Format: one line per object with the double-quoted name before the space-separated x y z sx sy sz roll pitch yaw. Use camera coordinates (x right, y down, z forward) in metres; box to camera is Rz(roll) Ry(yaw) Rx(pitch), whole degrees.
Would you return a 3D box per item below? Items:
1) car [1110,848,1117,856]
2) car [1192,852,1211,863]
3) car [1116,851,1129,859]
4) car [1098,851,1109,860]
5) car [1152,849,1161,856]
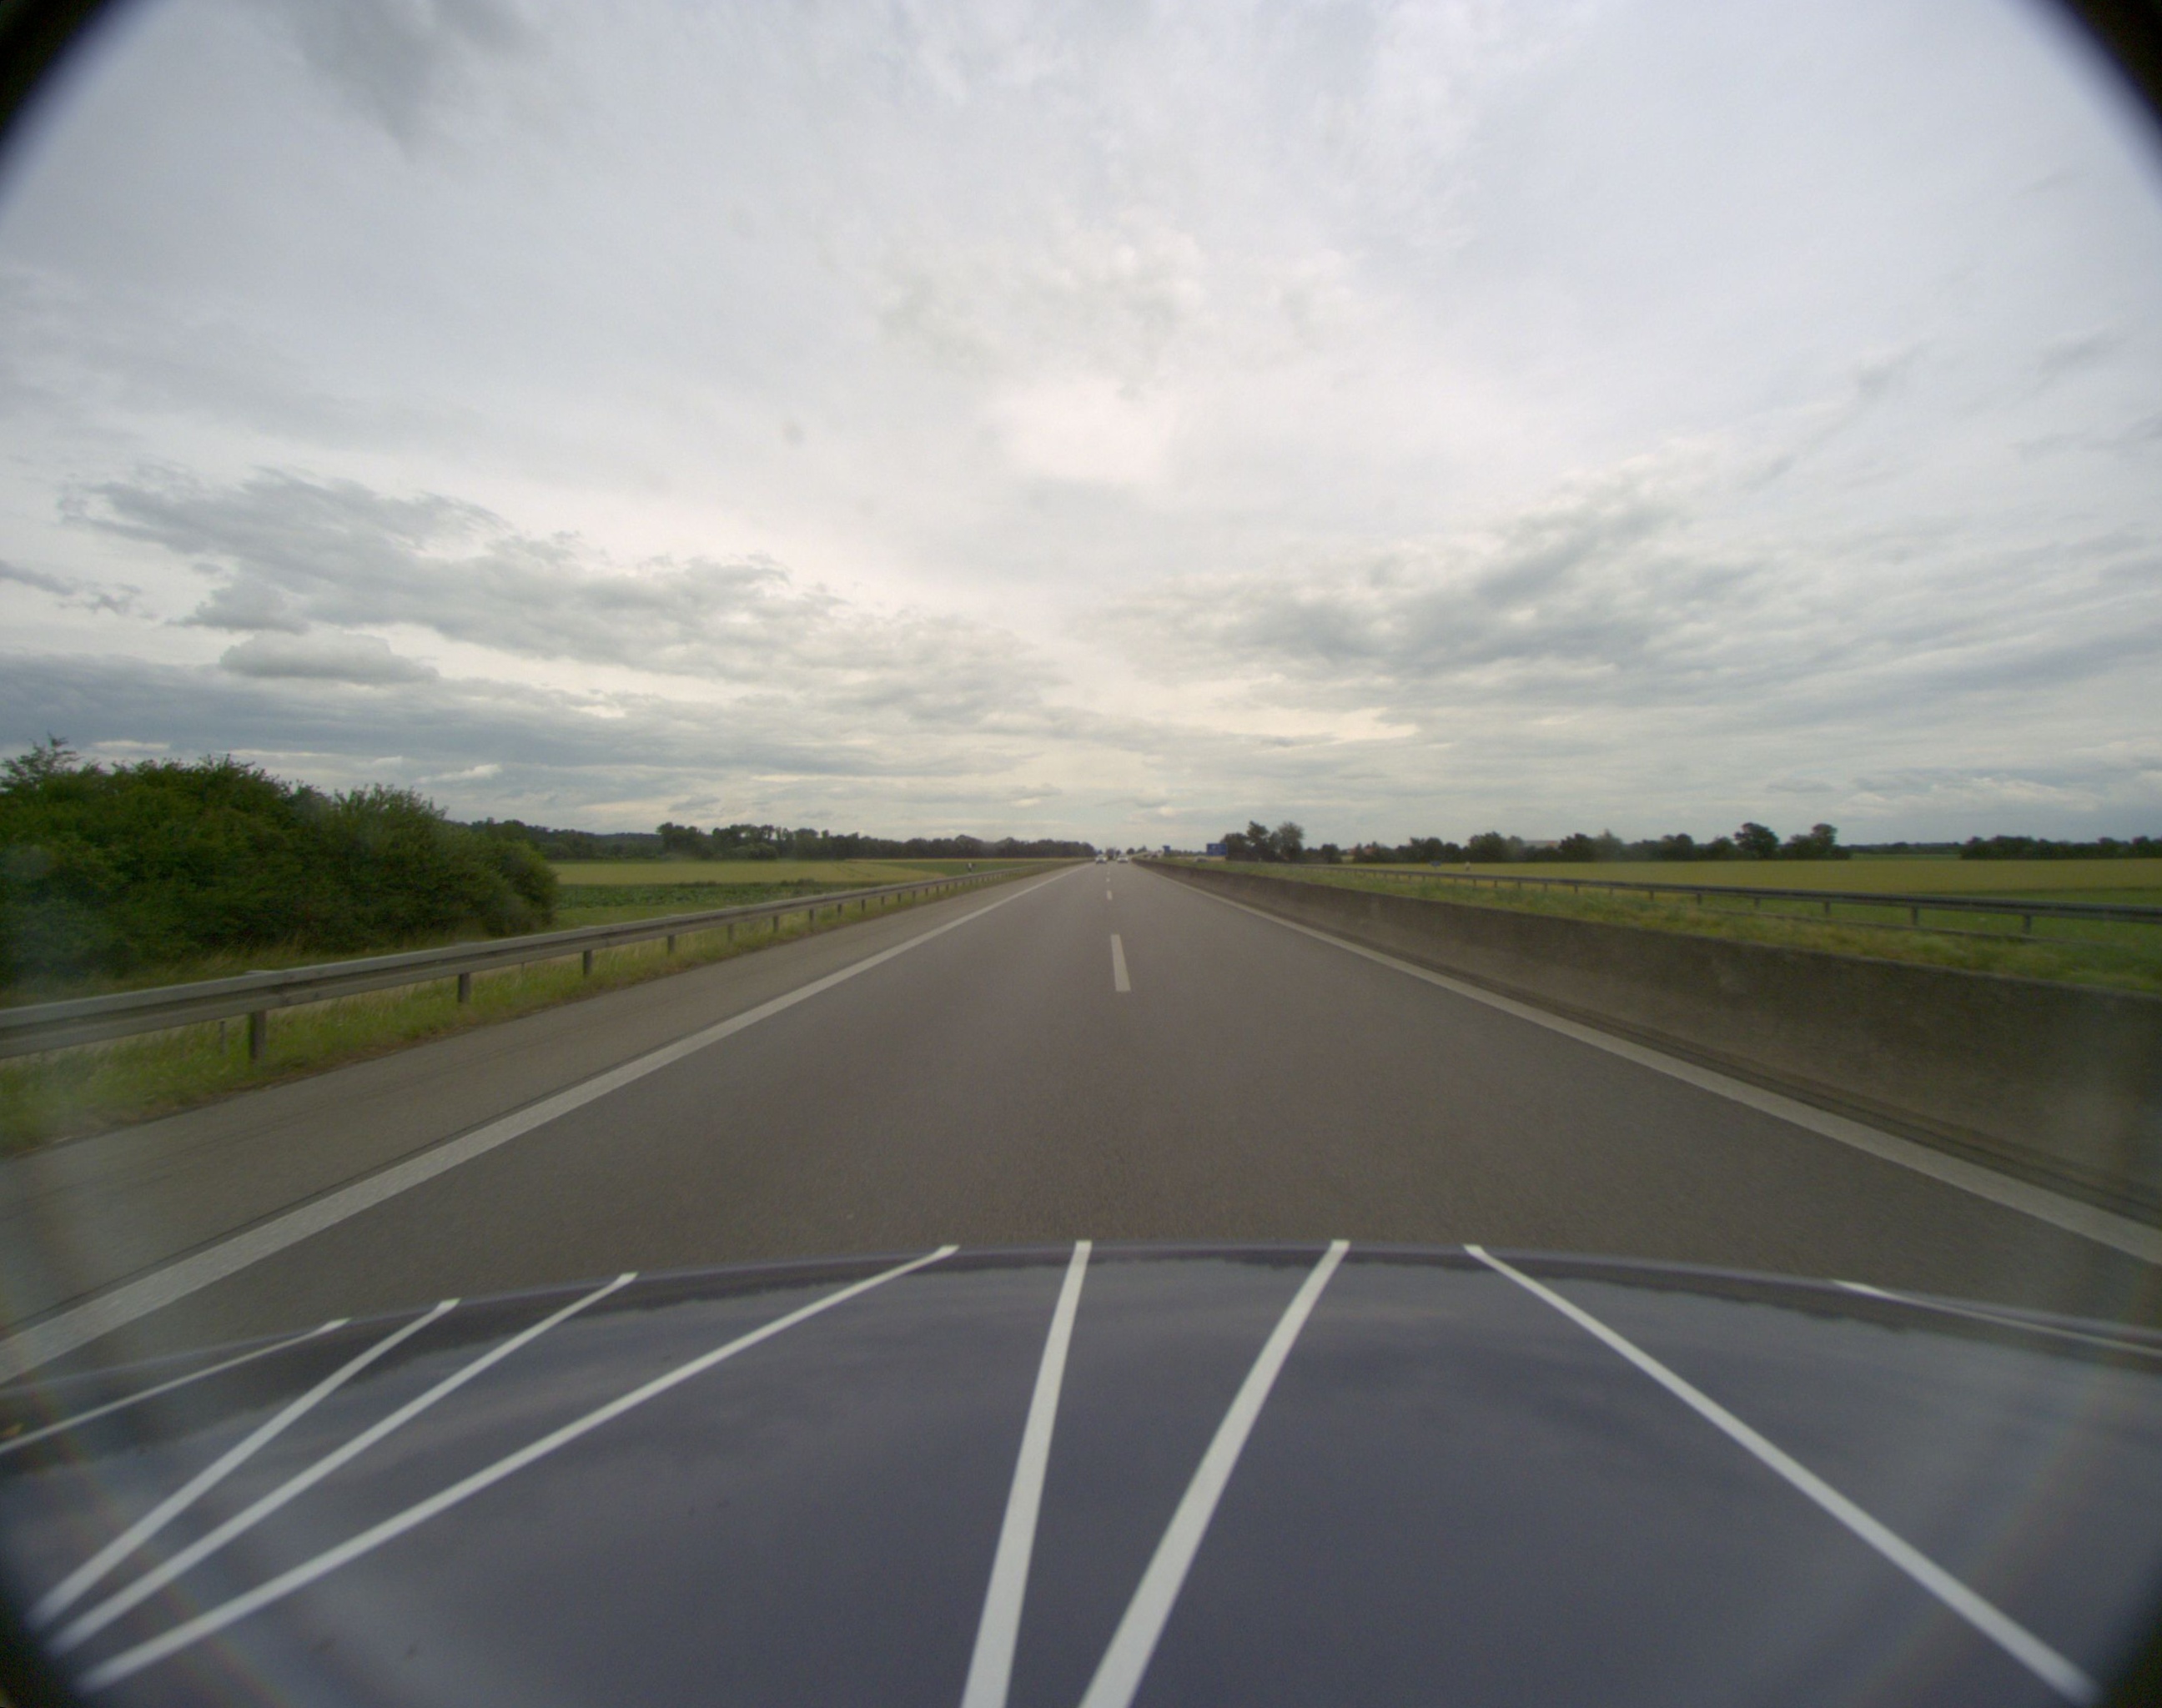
"car" 9.370 -0.617 219.190 1.915 2.248 5.314 -1 1 4
"car" 16.485 0.428 104.150 1.793 1.463 4.905 1 0 1
"car" 7.782 0.168 143.061 1.917 1.553 4.286 -1 1 -4
"car" 4.082 0.335 137.982 1.916 1.553 4.288 -1 1 1
"car" 16.877 -0.336 170.634 1.693 1.483 4.183 -1 0 1
